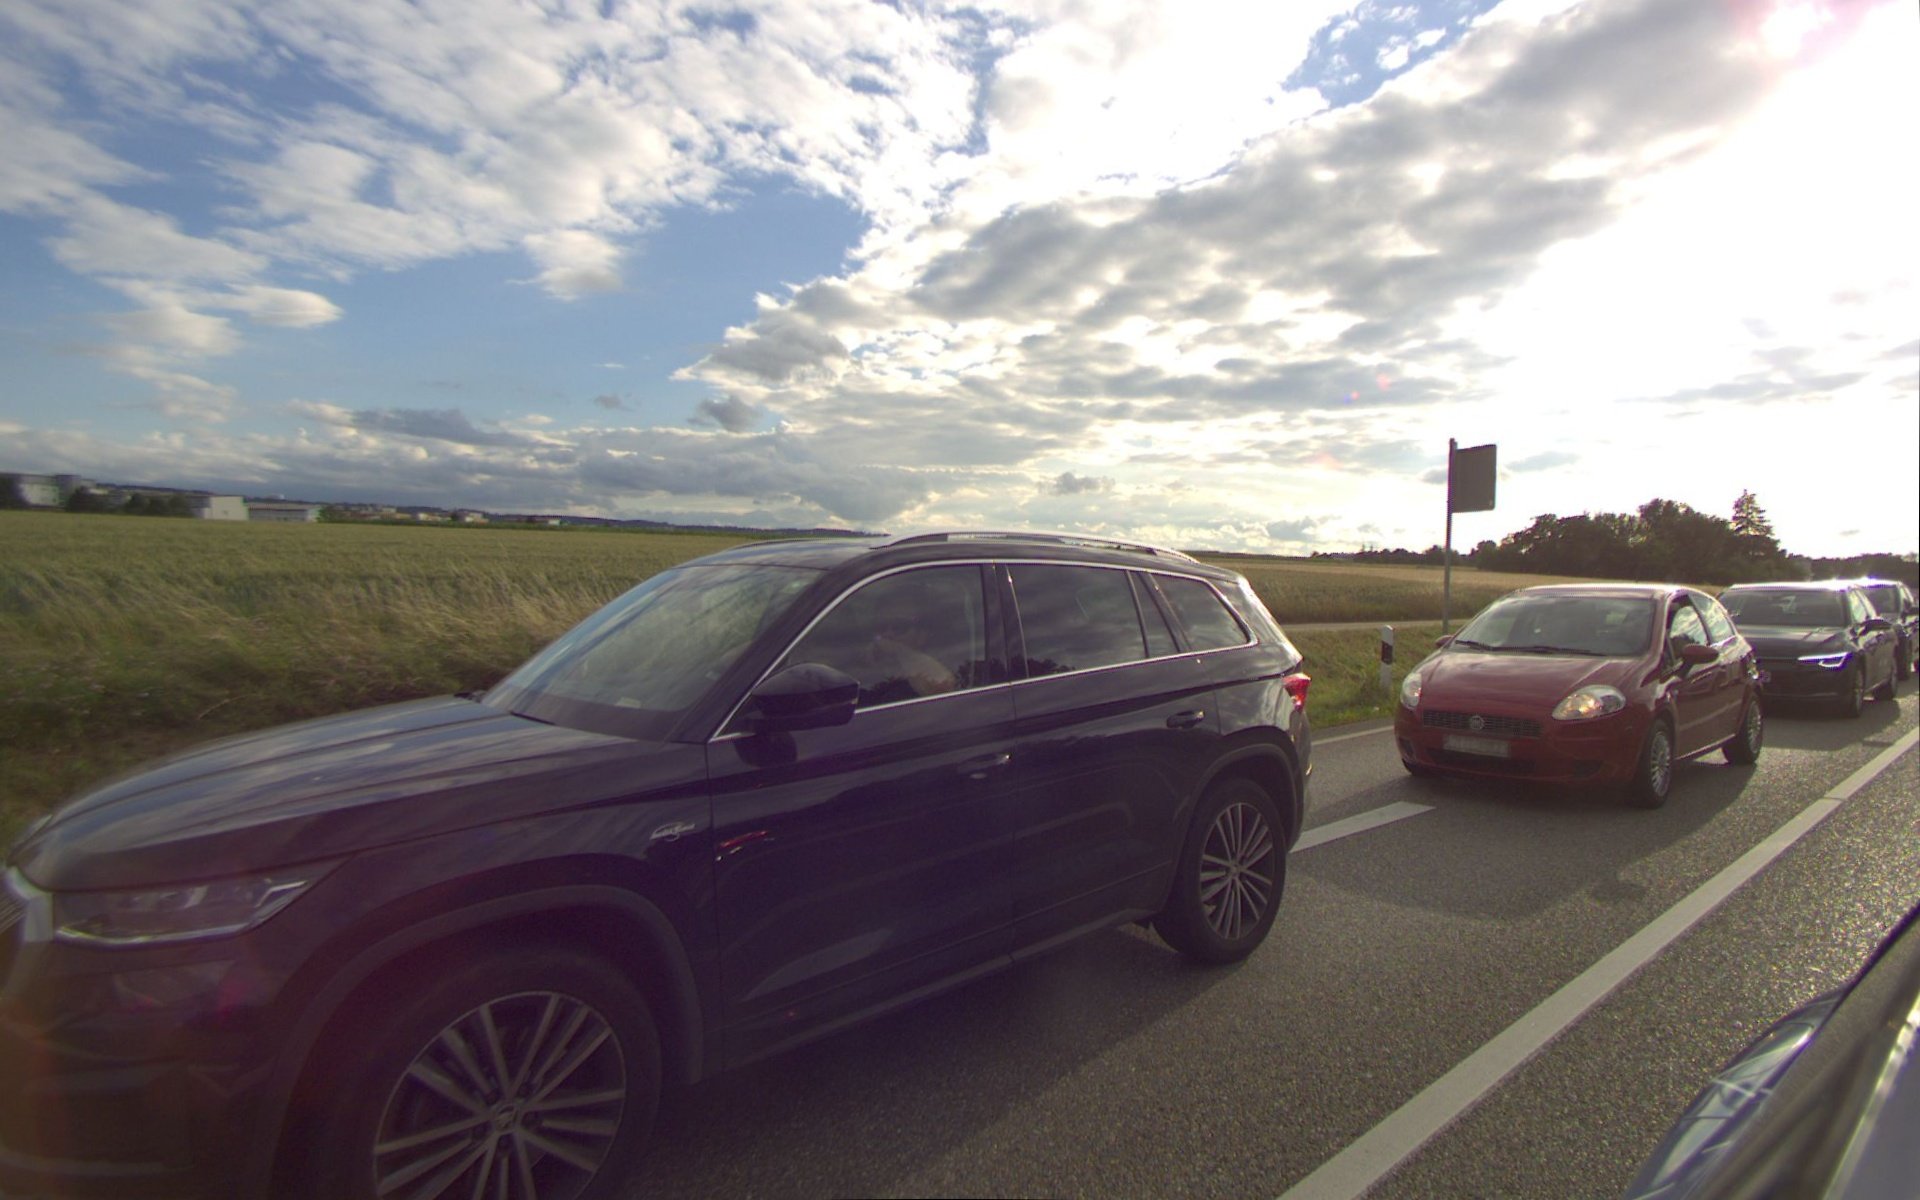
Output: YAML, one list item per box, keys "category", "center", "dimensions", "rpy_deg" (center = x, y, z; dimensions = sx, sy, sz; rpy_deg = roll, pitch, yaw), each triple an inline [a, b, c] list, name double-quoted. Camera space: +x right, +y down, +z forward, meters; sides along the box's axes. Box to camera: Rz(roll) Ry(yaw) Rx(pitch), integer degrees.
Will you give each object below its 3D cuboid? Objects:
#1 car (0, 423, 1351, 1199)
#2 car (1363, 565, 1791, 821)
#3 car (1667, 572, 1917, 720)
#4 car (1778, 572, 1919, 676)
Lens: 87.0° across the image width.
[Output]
- category: "car"
  center: [-0.493, 0.536, 3.627]
  dimensions: [4.342, 1.688, 1.722]
  rpy_deg: [-1, 1, -41]
- category: "car"
  center: [4.858, 0.519, 7.771]
  dimensions: [3.796, 1.494, 1.668]
  rpy_deg: [-1, 1, -40]
- category: "car"
  center: [10.042, 0.434, 12.120]
  dimensions: [3.798, 1.494, 1.722]
  rpy_deg: [-1, 1, -41]
- category: "car"
  center: [14.590, 0.327, 16.296]
  dimensions: [3.414, 1.494, 1.629]
  rpy_deg: [-1, 1, -41]
